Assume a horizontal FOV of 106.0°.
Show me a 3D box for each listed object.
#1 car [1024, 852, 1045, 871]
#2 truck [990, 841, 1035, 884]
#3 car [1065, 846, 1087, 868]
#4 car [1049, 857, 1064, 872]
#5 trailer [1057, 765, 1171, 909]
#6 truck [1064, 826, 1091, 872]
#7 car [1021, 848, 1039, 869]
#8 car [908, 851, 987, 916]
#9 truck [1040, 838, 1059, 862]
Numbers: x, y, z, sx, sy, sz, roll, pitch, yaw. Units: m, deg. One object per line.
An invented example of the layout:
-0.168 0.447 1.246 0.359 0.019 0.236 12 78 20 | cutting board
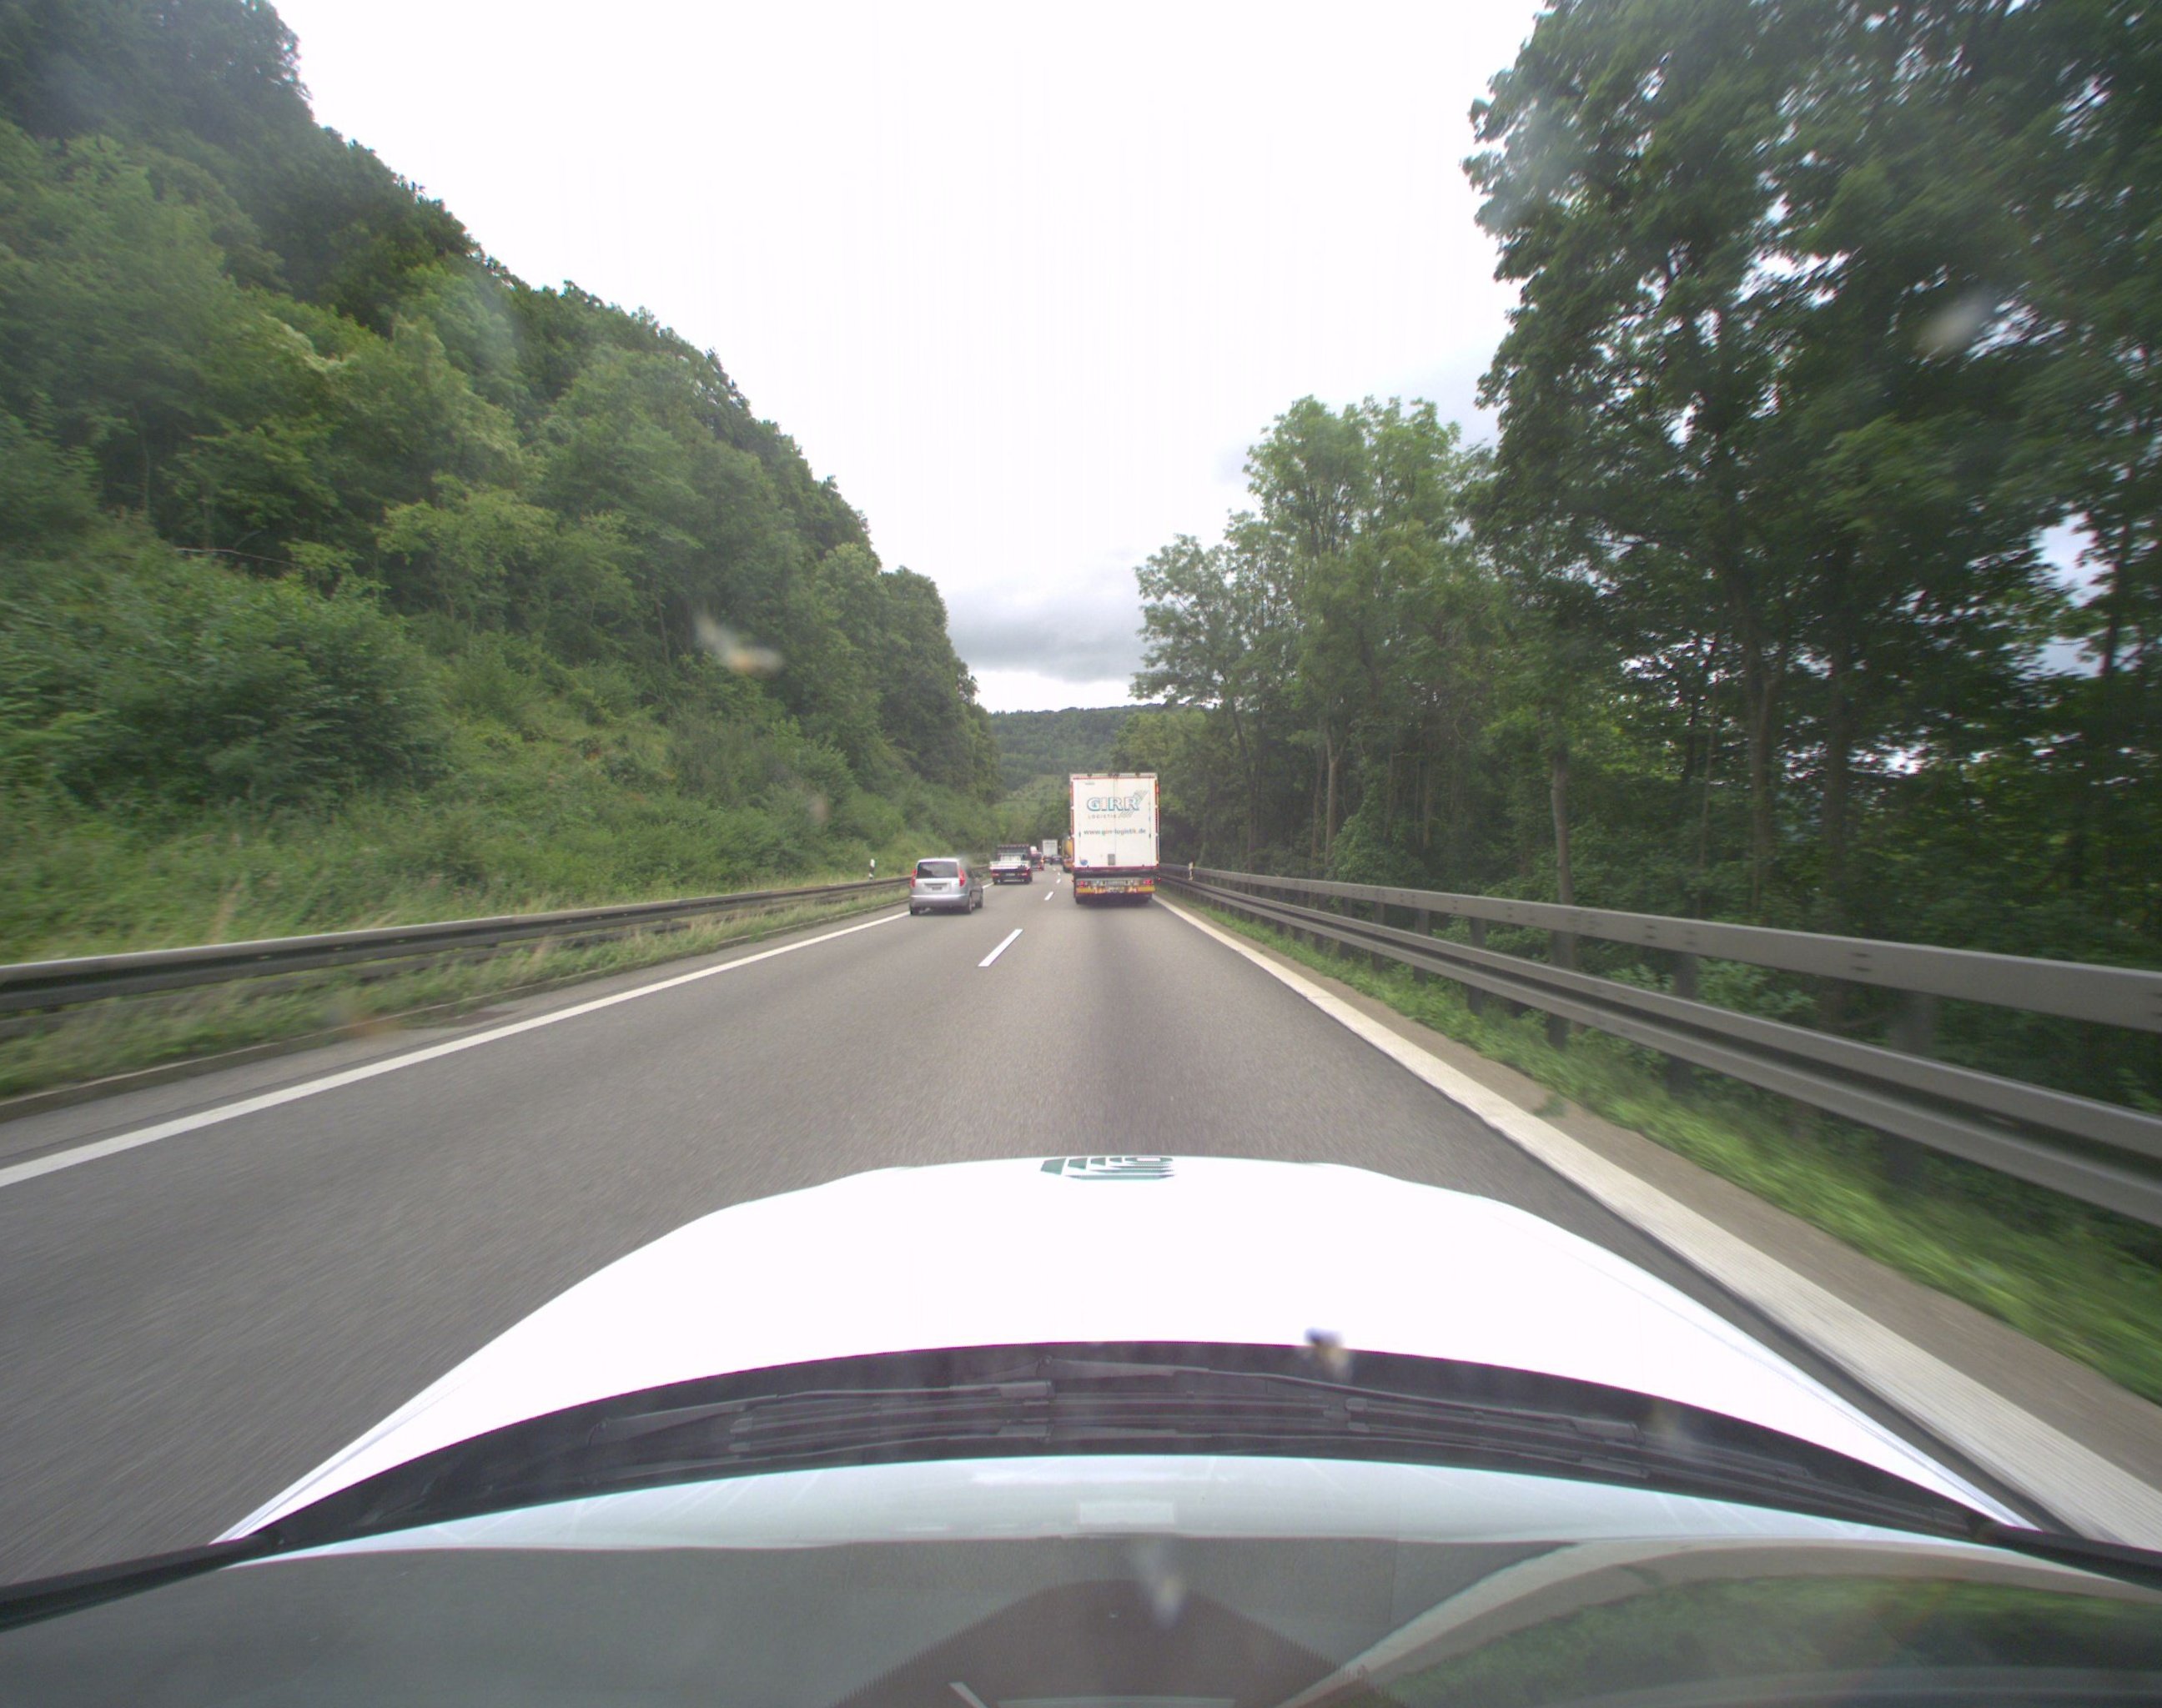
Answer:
-4.658 0.724 82.604 2.013 1.914 5.558 1 0 -2 | car
-3.899 0.476 47.403 2.343 2.274 6.842 1 0 -3 | truck
-0.491 0.293 78.401 1.988 2.014 4.331 1 -1 -1 | car
-3.529 1.457 115.831 1.989 2.014 3.996 1 -1 -3 | car
0.875 -0.492 28.136 3.124 4.042 9.435 2 0 -1 | trailer
-0.292 -0.377 71.568 2.226 3.804 6.822 1 -1 0 | truck
-6.407 0.513 102.565 2.119 2.598 5.557 0 0 -3 | car
-3.836 0.799 24.056 1.629 1.726 4.344 0 0 0 | car
-5.421 -0.651 139.830 3.062 3.877 8.447 1 -1 -3 | truck
